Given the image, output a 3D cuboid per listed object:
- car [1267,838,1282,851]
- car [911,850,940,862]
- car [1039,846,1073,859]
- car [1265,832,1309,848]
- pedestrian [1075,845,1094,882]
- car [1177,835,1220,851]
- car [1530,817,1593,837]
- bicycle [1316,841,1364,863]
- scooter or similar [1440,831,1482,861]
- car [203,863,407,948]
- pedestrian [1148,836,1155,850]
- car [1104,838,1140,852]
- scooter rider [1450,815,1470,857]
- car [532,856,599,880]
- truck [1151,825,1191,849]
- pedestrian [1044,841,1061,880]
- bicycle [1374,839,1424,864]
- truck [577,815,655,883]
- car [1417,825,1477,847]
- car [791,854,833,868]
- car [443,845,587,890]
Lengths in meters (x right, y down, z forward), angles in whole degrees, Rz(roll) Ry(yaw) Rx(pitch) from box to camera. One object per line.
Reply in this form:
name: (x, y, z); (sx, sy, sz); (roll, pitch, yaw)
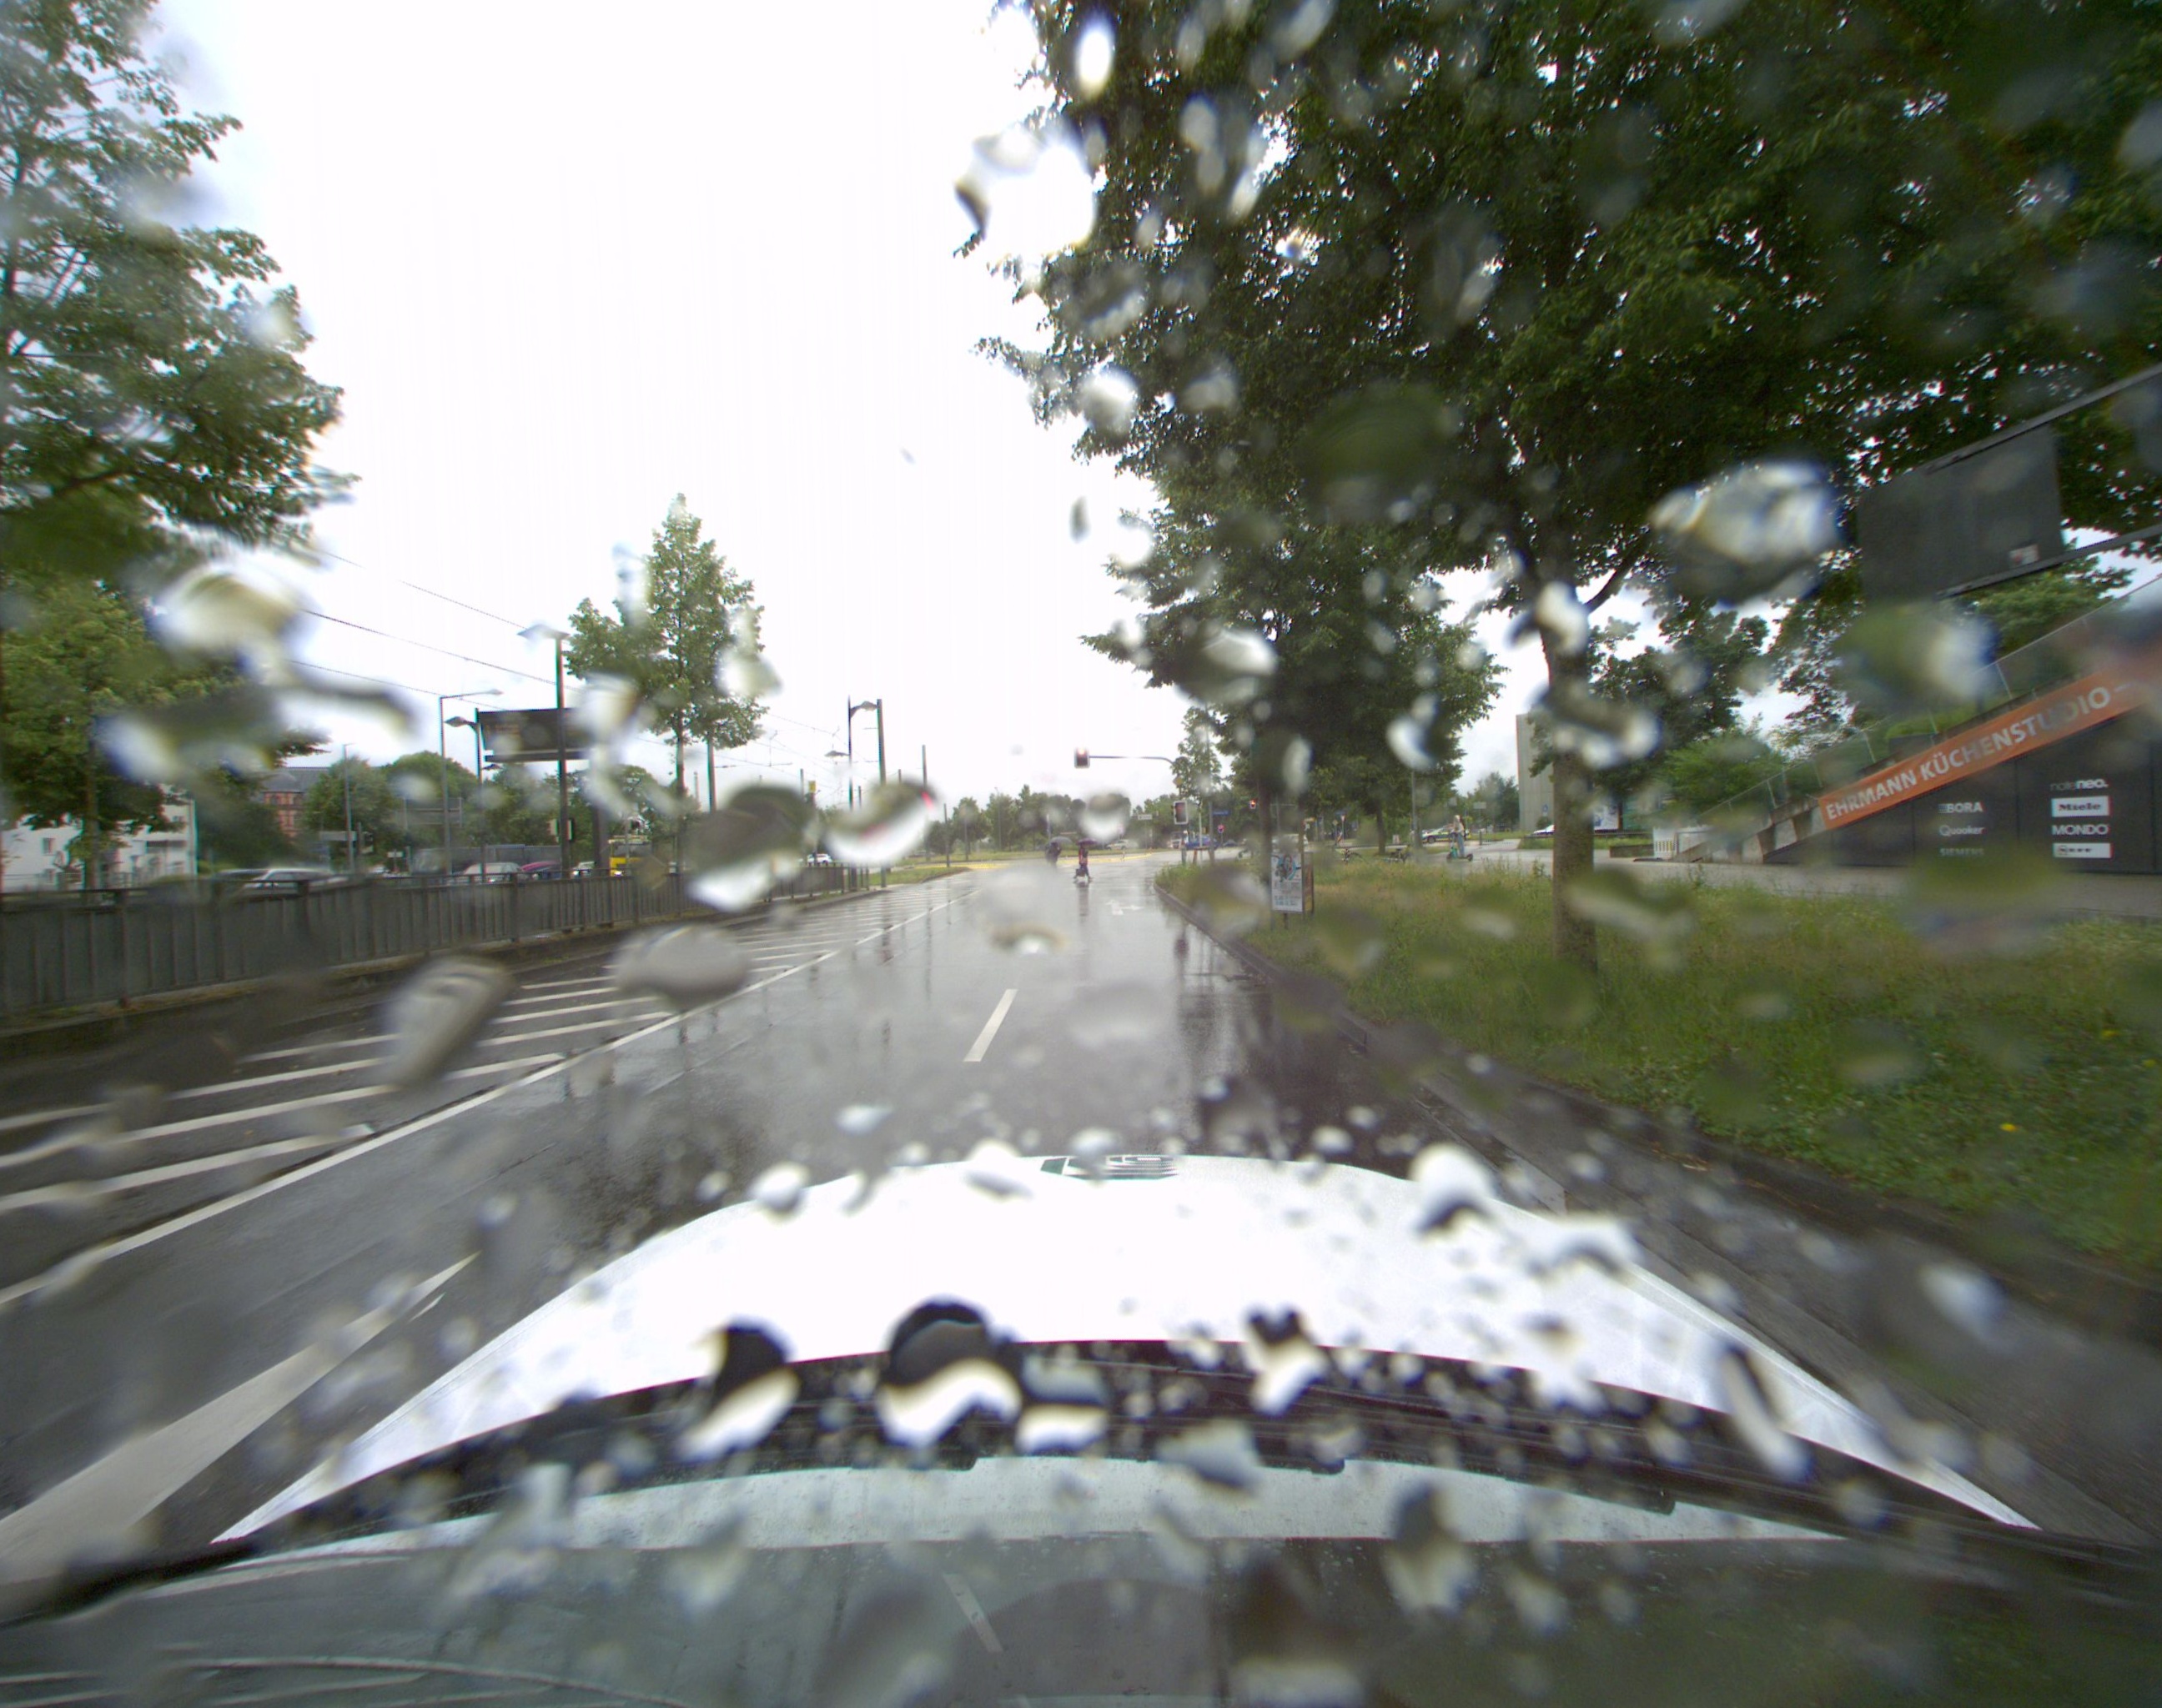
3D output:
car: (22.831, -1.160, 96.057); (1.606, 1.454, 4.003); (-2, 1, 14)
car: (-20.761, 0.285, 108.687); (3.459, 1.543, 1.622); (0, 0, 1)
car: (-3.129, -0.152, 102.857); (3.940, 1.454, 1.632); (-2, 1, 22)
car: (20.066, -1.344, 79.381); (3.938, 1.454, 1.633); (-2, 1, 24)
pedestrian: (0.138, 0.401, 33.380); (0.678, 1.460, 0.573); (-3, 0, -3)
car: (12.019, -1.100, 83.400); (3.936, 1.454, 1.634); (-1, 1, 38)
car: (45.260, -2.541, 76.769); (4.731, 1.851, 2.005); (0, 0, 9)
bicycle: (9.381, -0.079, 29.526); (0.382, 0.787, 1.841); (0, 0, -32)
scooter or similar: (15.796, -0.325, 33.889); (1.582, 1.259, 0.447); (0, 0, -5)
car: (-21.613, 1.349, 22.940); (1.750, 2.013, 4.002); (-2, 1, 2)
pedestrian: (6.921, -1.062, 79.598); (0.448, 1.304, 0.489); (-1, 1, 40)
car: (4.755, -1.010, 94.985); (4.061, 1.454, 1.633); (-1, 1, 44)
scooter rider: (15.768, -0.728, 33.881); (0.530, 1.709, 0.433); (-3, 0, -5)
car: (-38.913, 1.039, 61.510); (4.352, 1.627, 2.011); (-2, 1, 21)
truck: (11.049, -2.021, 99.074); (2.439, 2.686, 8.105); (0, 0, 25)
pedestrian: (-1.113, 0.244, 32.278); (0.619, 1.522, 0.741); (0, 1, 0)
bicycle: (10.431, -0.081, 26.768); (0.453, 0.787, 1.999); (0, 0, -15)
truck: (-28.529, -0.306, 49.747); (2.709, 3.777, 9.077); (0, 0, -39)
car: (34.431, -1.702, 76.631); (4.741, 1.851, 2.001); (-2, 1, 2)
car: (-32.369, 0.827, 98.016); (4.634, 1.454, 1.609); (-3, 1, -28)
car: (-51.557, 1.116, 74.761); (2.427, 3.721, 11.025); (-4, -1, 24)
